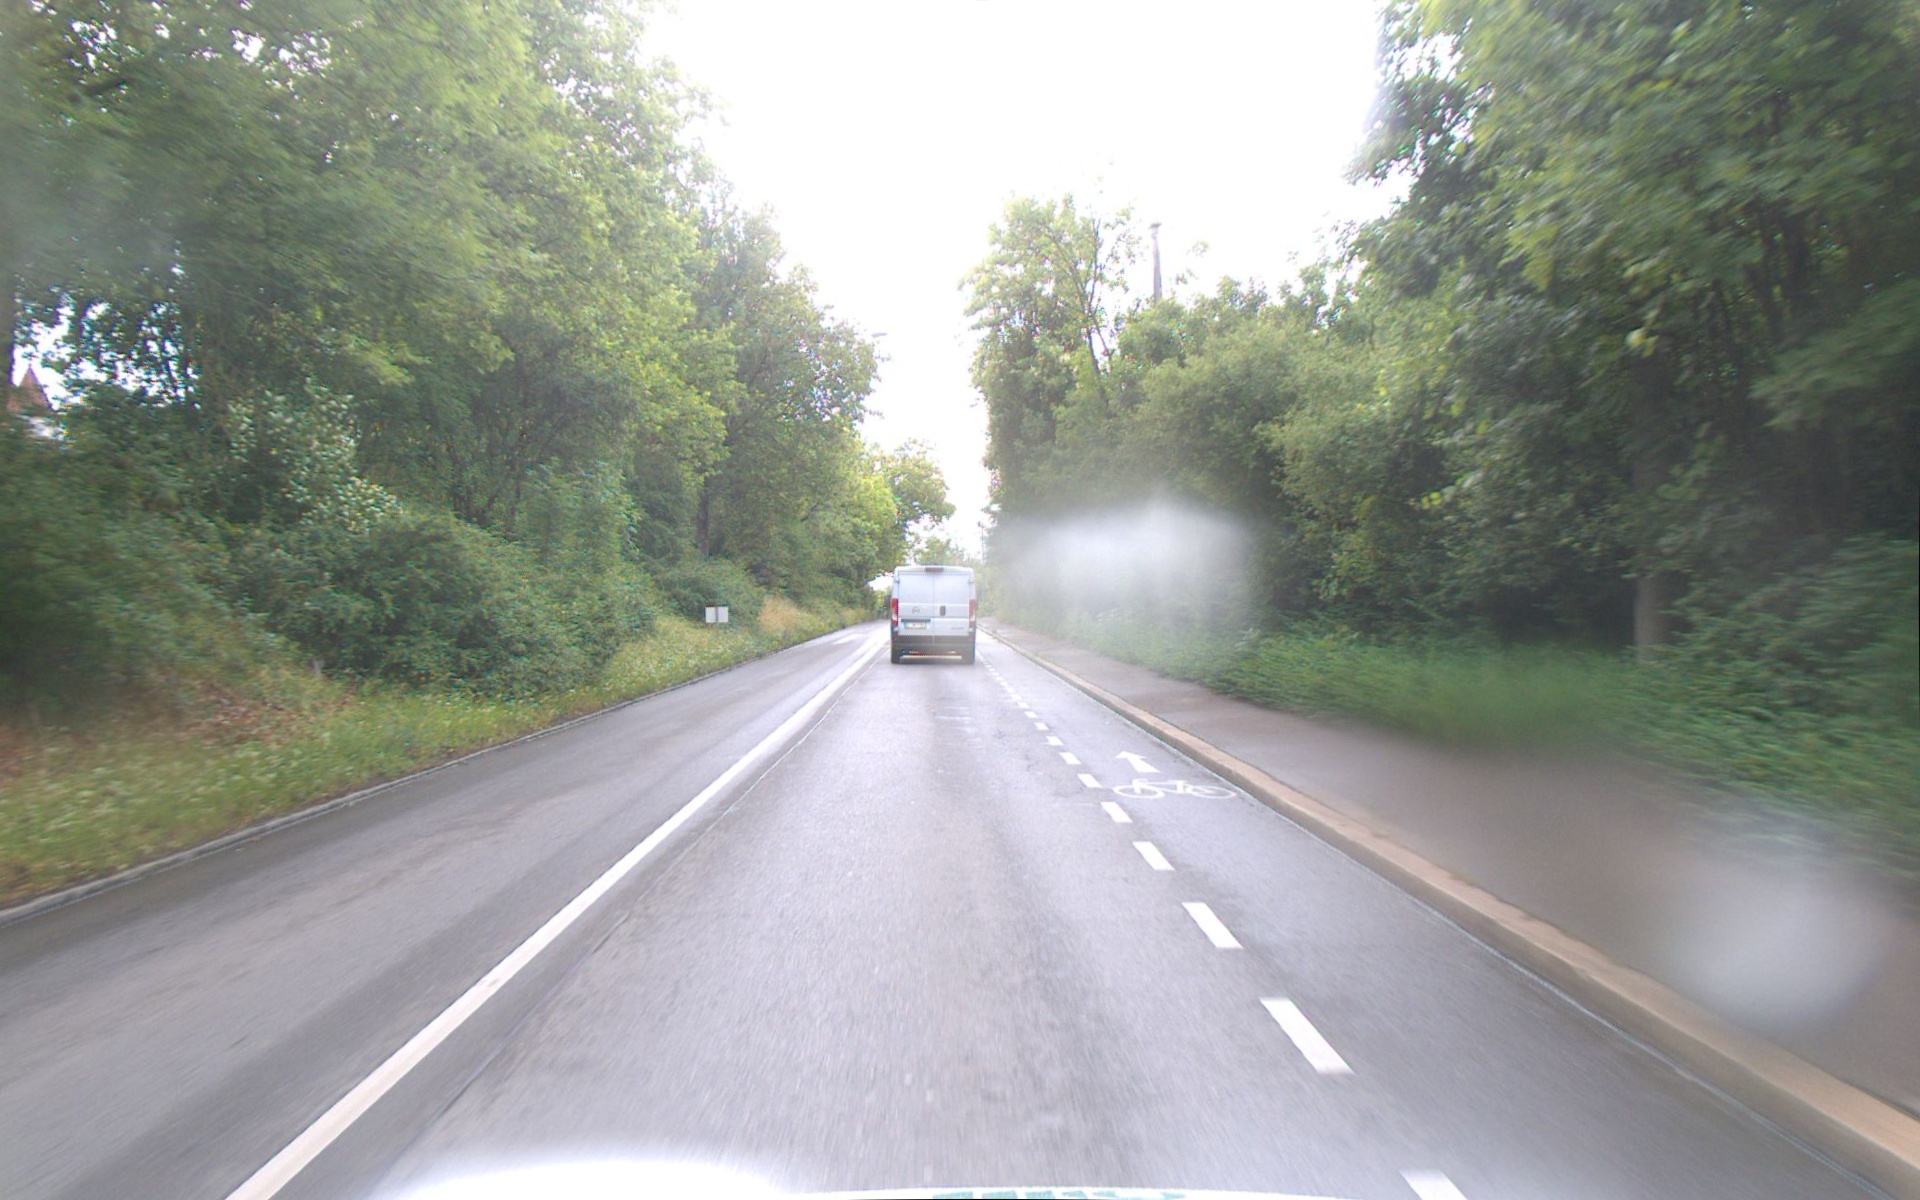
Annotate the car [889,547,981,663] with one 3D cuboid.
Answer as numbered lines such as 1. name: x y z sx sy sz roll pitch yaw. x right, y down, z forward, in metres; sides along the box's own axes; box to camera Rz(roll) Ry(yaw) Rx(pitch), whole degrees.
1. car: -0.593 0.090 40.445 2.008 2.560 4.943 2 0 -1

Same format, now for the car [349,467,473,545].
1. car: -12.548 -2.130 38.030 1.716 1.691 3.443 -1 2 -1
